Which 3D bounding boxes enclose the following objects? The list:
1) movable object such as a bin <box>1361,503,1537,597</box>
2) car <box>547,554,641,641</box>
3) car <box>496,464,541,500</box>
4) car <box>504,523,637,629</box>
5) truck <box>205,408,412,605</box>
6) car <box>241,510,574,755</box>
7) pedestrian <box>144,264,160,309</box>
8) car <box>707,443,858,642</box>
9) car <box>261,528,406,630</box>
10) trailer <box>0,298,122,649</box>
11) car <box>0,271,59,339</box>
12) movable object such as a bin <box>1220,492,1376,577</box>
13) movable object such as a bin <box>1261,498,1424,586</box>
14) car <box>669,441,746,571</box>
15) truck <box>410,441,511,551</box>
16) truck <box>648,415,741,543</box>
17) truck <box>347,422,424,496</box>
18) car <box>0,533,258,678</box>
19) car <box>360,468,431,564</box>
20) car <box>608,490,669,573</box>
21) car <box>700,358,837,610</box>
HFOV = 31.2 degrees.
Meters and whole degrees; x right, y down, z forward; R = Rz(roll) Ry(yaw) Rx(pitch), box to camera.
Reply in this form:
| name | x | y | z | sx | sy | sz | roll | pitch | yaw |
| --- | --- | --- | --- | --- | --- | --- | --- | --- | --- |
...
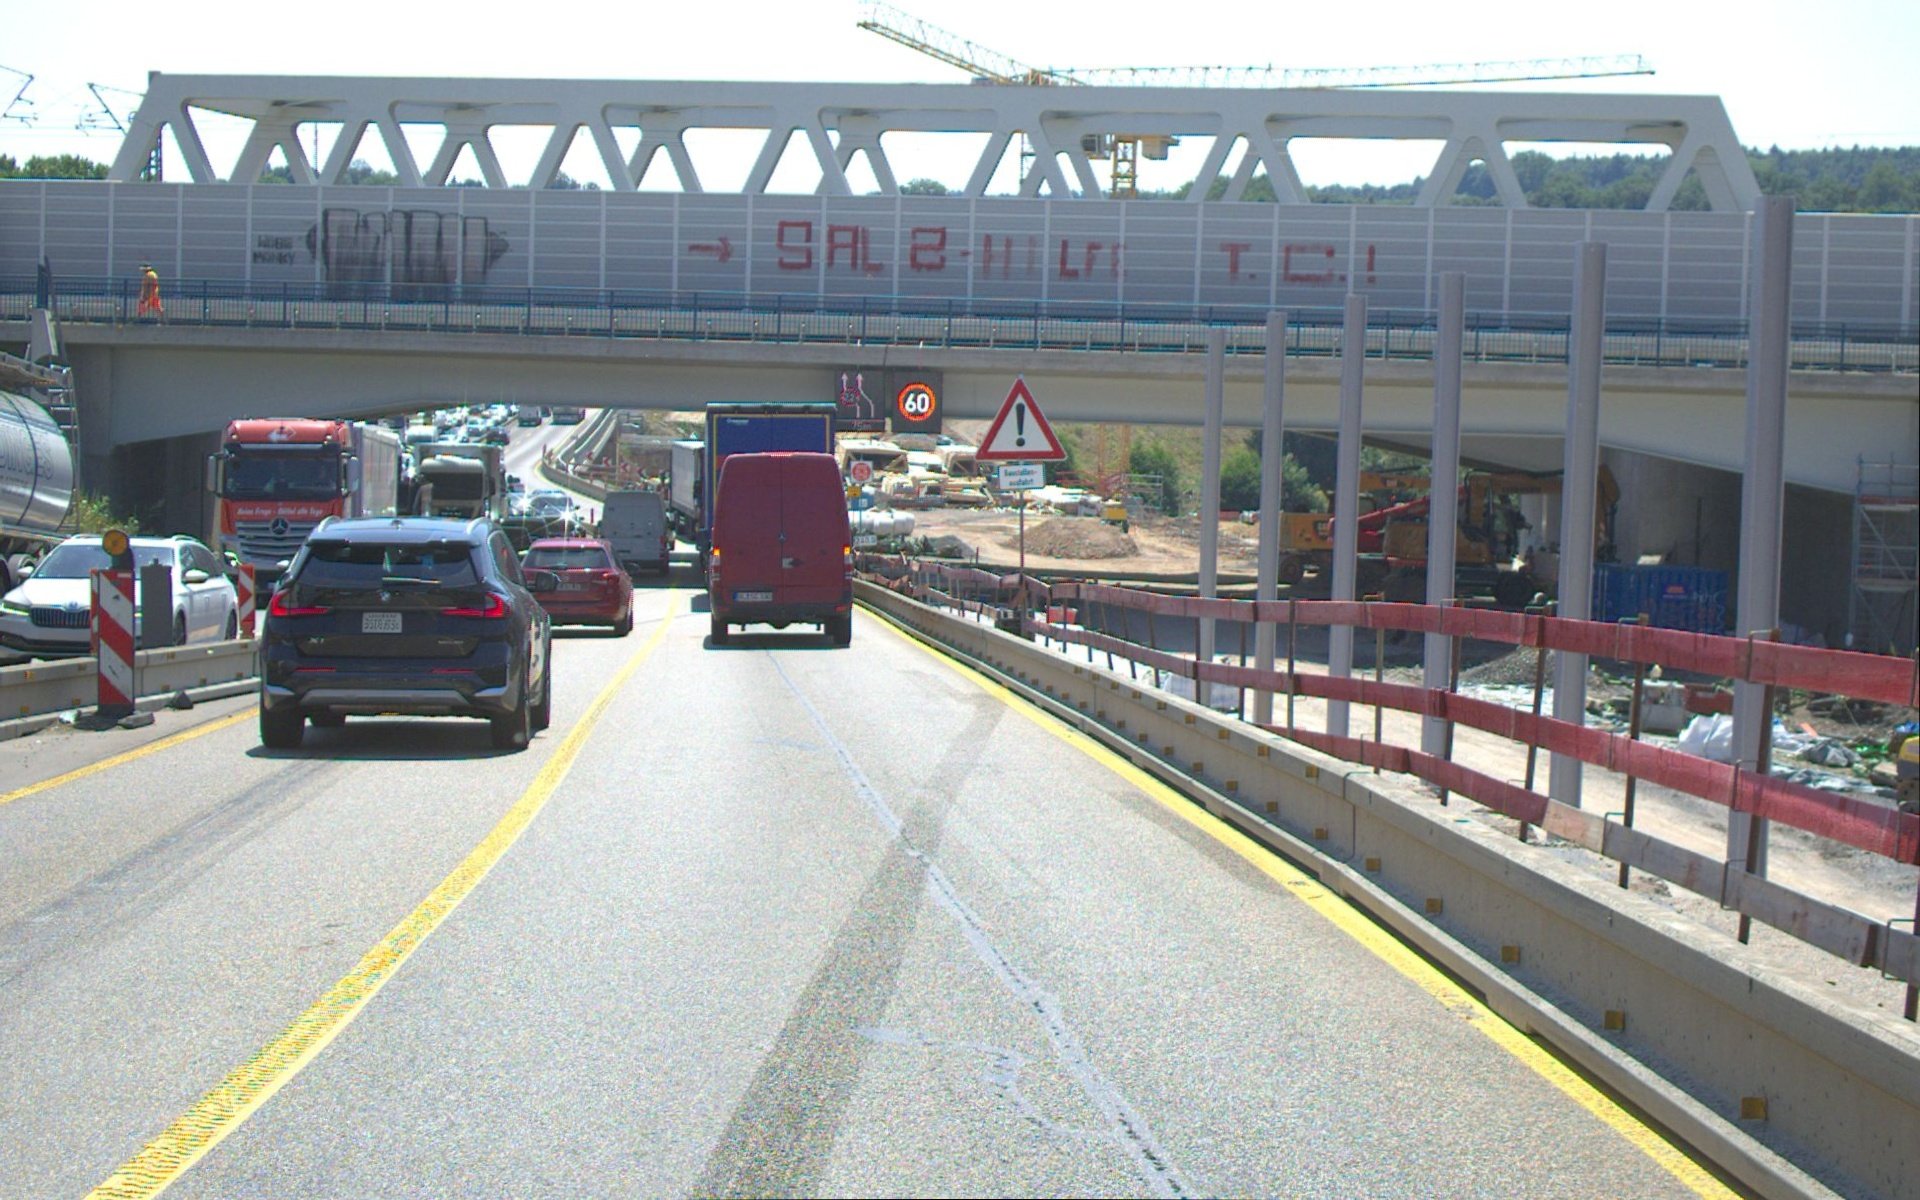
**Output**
| name | x | y | z | sx | sy | sz | roll | pitch | yaw |
| --- | --- | --- | --- | --- | --- | --- | --- | --- | --- |
| movable object such as a bin | 15.180 | -1.566 | 106.884 | 5.146 | 2.798 | 2.142 | 1 | 1 | 1 |
| car | -7.485 | -0.084 | 70.545 | 1.839 | 1.648 | 4.166 | 0 | 2 | -5 |
| car | -24.941 | -6.667 | 194.107 | 1.993 | 2.007 | 4.002 | 1 | 2 | -15 |
| car | -5.874 | -0.395 | 52.228 | 1.775 | 1.512 | 4.207 | 0 | 2 | -3 |
| truck | -13.905 | -2.030 | 74.397 | 2.834 | 3.839 | 12.915 | 1 | 2 | -4 |
| car | -3.920 | 0.156 | 25.108 | 1.879 | 1.612 | 4.500 | 0 | 2 | -2 |
| pedestrian | -22.390 | -8.687 | 95.293 | 0.336 | 1.207 | 0.308 | 1 | 1 | 9 |
| car | -2.565 | -0.844 | 48.758 | 1.988 | 2.681 | 4.625 | 0 | 2 | -5 |
| car | -9.475 | -0.349 | 52.240 | 1.833 | 1.441 | 4.157 | 1 | 2 | -6 |
| trailer | -12.141 | -1.456 | 39.163 | 2.347 | 4.001 | 11.450 | 1 | 2 | 0 |
| car | -28.127 | -8.374 | 97.566 | 4.555 | 1.776 | 1.960 | 1 | 1 | 9 |
| movable object such as a bin | 11.591 | -2.260 | 118.191 | 5.146 | 2.798 | 2.142 | 1 | 1 | 1 |
| movable object such as a bin | 12.663 | -1.922 | 113.940 | 5.146 | 2.798 | 2.142 | 1 | 1 | 1 |
| car | -8.359 | -3.115 | 113.263 | 2.449 | 4.146 | 6.862 | 0 | 2 | -5 |
| truck | -18.475 | -3.846 | 127.858 | 2.834 | 3.839 | 12.915 | 1 | 2 | -5 |
| truck | -11.881 | -5.323 | 152.651 | 2.834 | 5.380 | 12.916 | 1 | 2 | -10 |
| truck | -31.138 | -7.576 | 185.939 | 2.834 | 3.839 | 12.917 | 1 | 2 | -15 |
| car | -8.888 | 0.008 | 36.587 | 1.817 | 1.379 | 4.584 | 1 | 2 | 1 |
| car | -16.023 | -2.400 | 97.826 | 1.580 | 2.645 | 5.393 | 1 | 2 | -5 |
| car | -9.607 | -2.067 | 102.933 | 1.775 | 2.432 | 4.207 | 0 | 2 | -5 |
| car | -4.197 | -2.461 | 73.680 | 2.620 | 5.014 | 10.399 | 0 | 2 | -5 |
